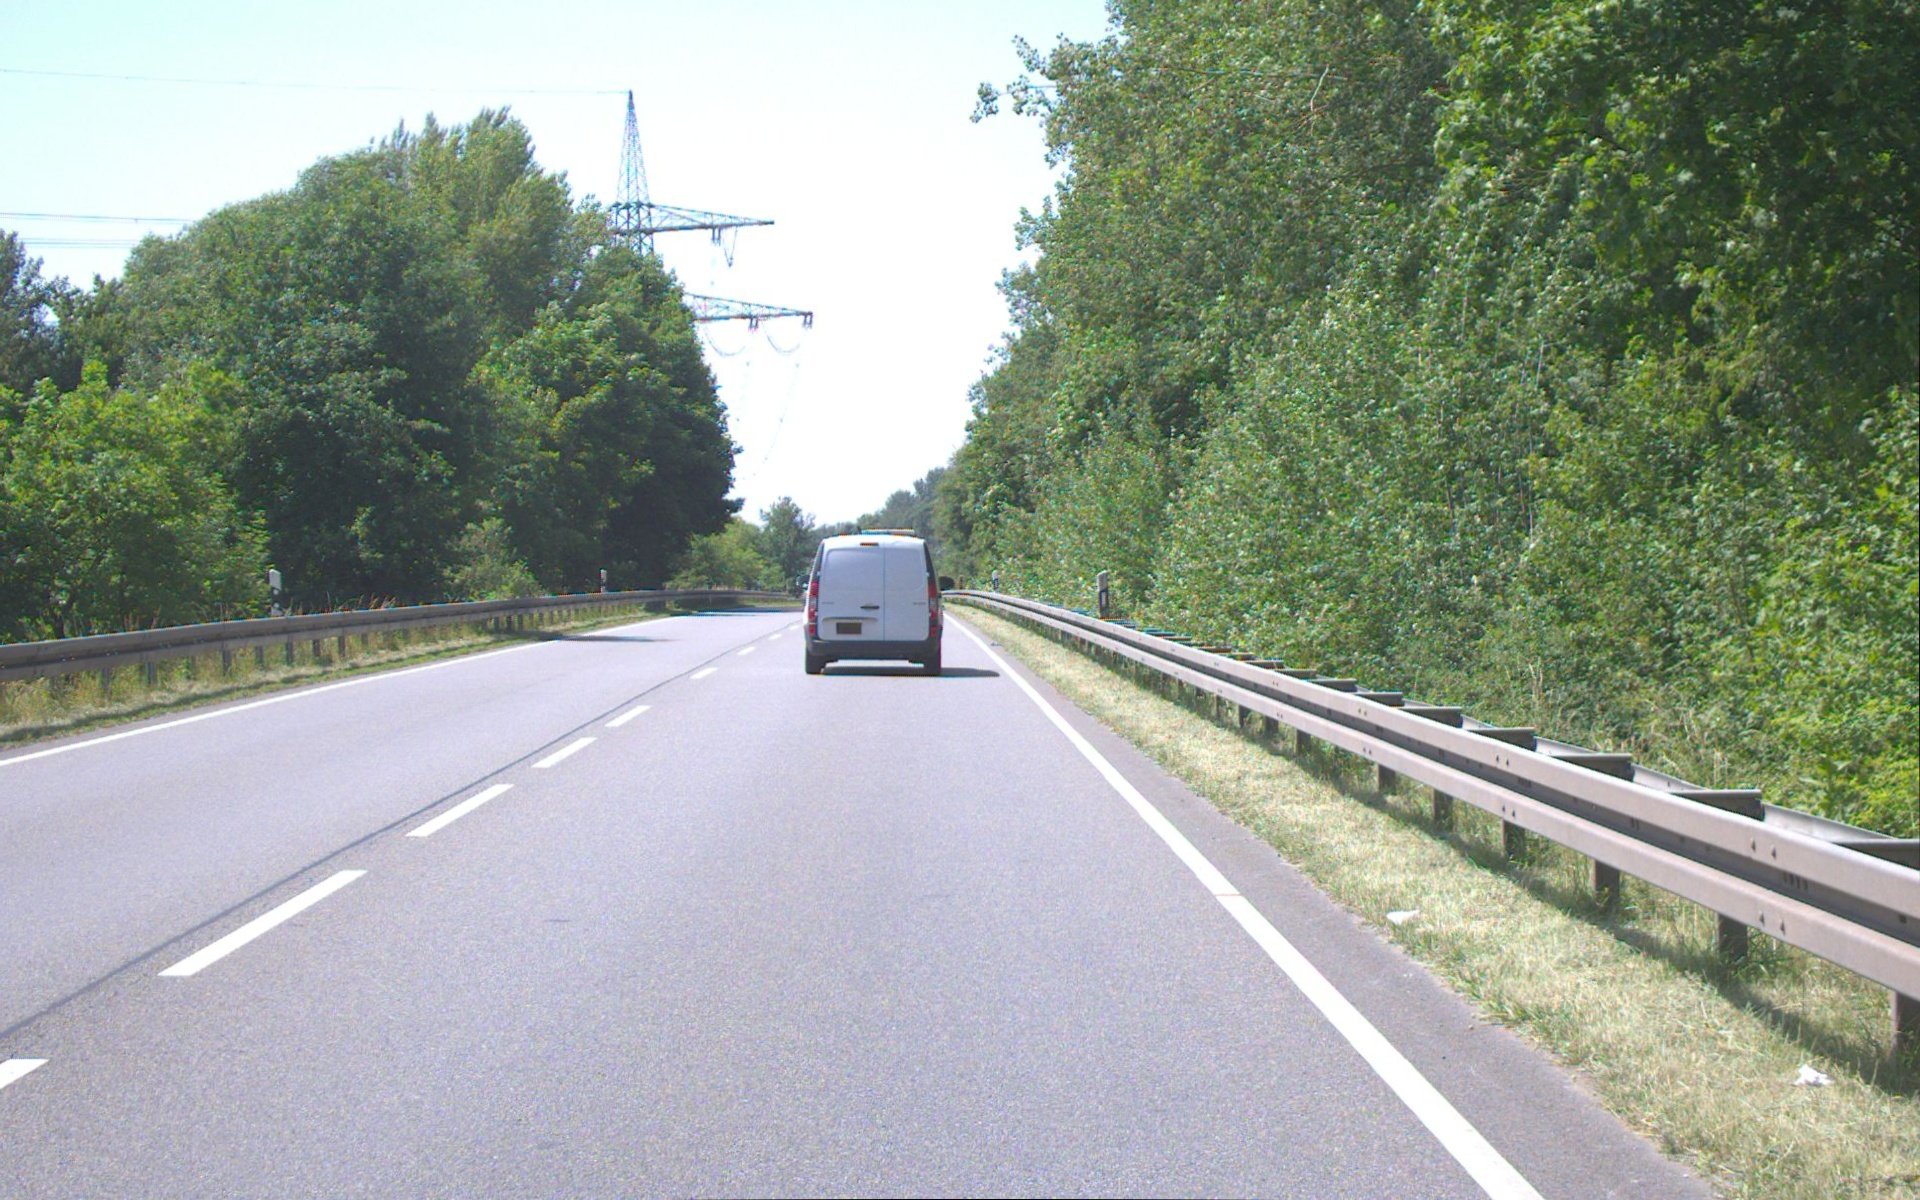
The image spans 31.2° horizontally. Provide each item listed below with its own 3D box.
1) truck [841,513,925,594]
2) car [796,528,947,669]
[{"bbox_3d":[-3.207,-1.960,143.496,3.296,3.161,14.405,1,1,-1],"label":"truck"},{"bbox_3d":[-1.150,-0.049,45.040,1.875,1.735,4.000,1,1,-1],"label":"car"}]
